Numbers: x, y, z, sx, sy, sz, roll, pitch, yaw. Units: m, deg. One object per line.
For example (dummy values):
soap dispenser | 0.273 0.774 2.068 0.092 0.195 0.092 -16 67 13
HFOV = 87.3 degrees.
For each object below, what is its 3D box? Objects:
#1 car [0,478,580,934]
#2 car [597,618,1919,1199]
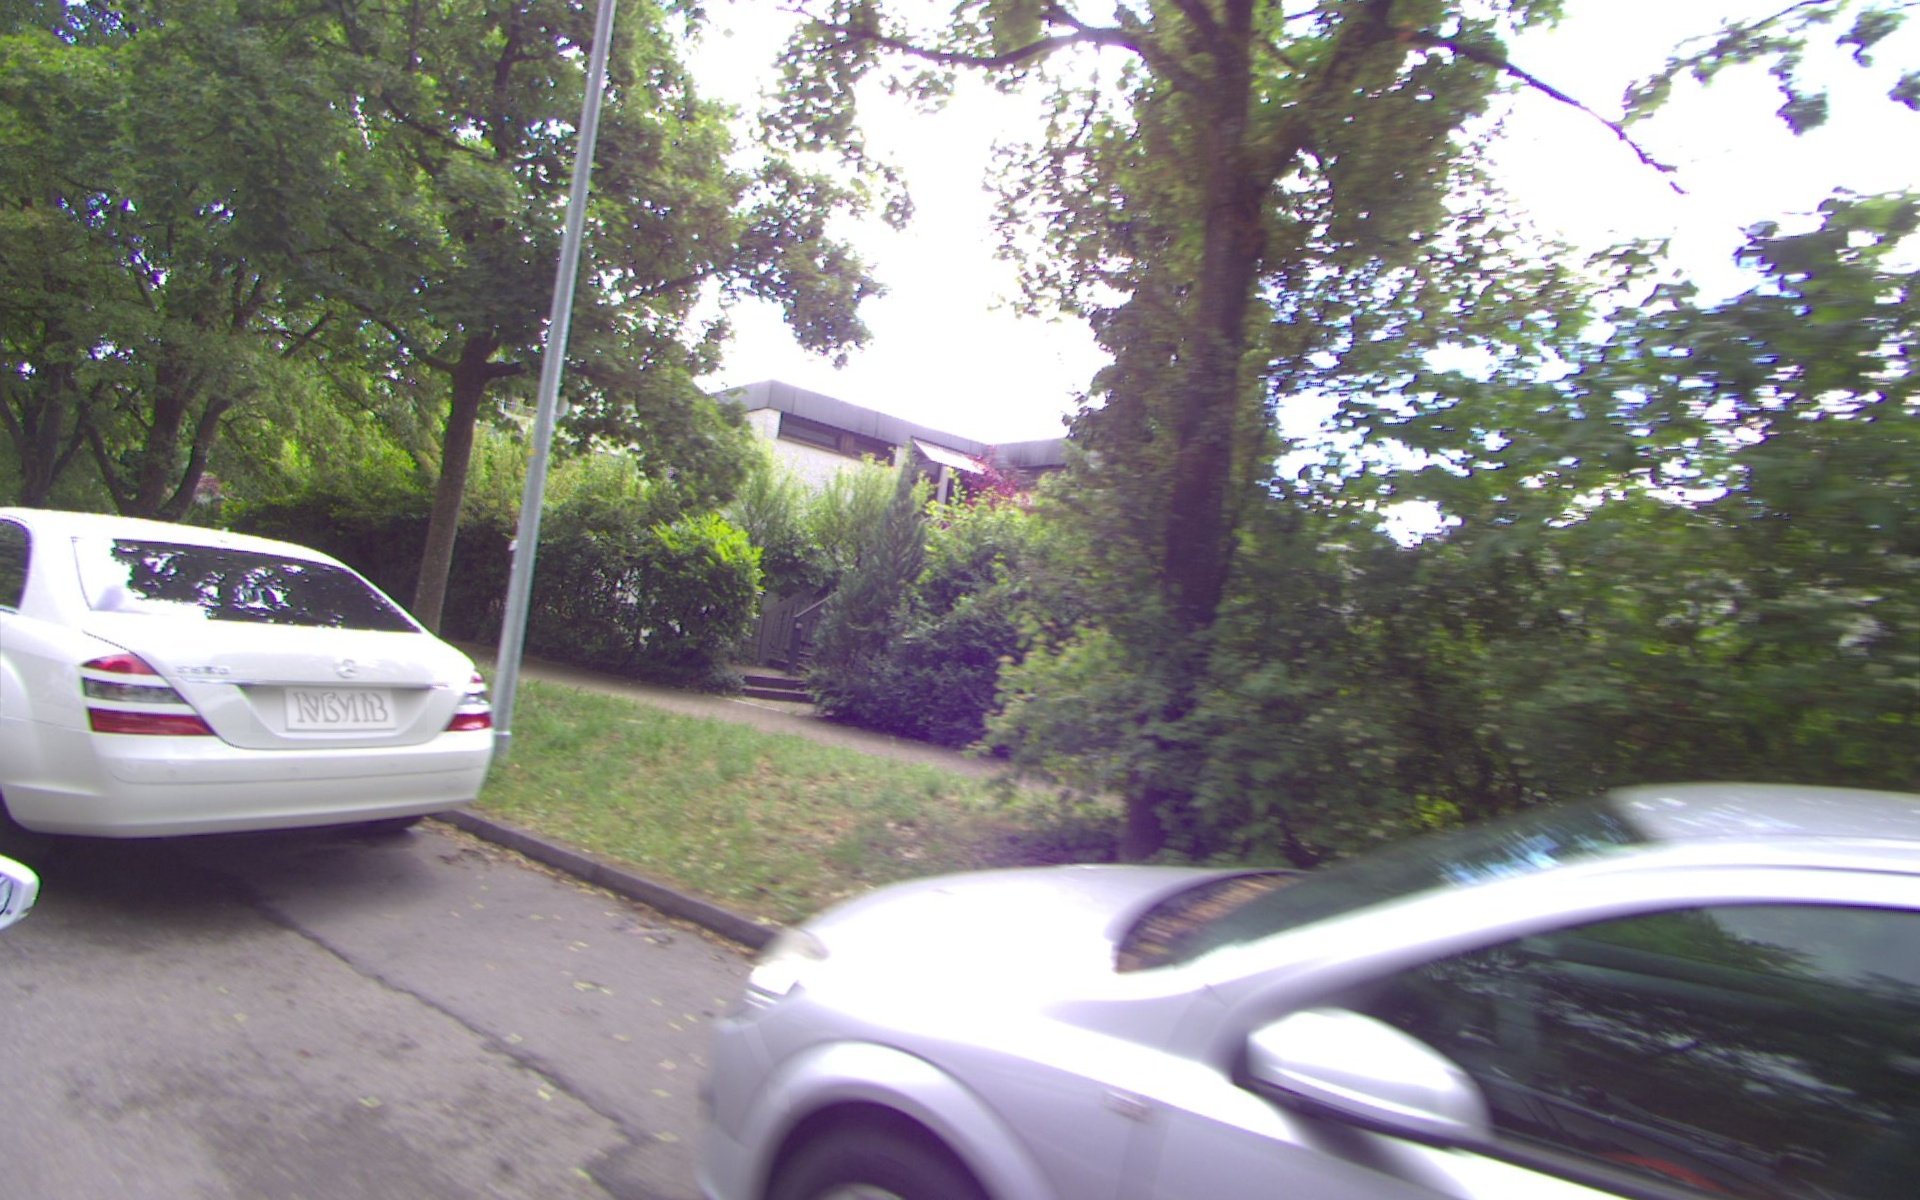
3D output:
car | -4.618 0.227 5.593 5.091 1.524 1.889 7 -2 32
car | 1.424 1.014 1.759 3.994 1.427 1.795 6 -1 34
